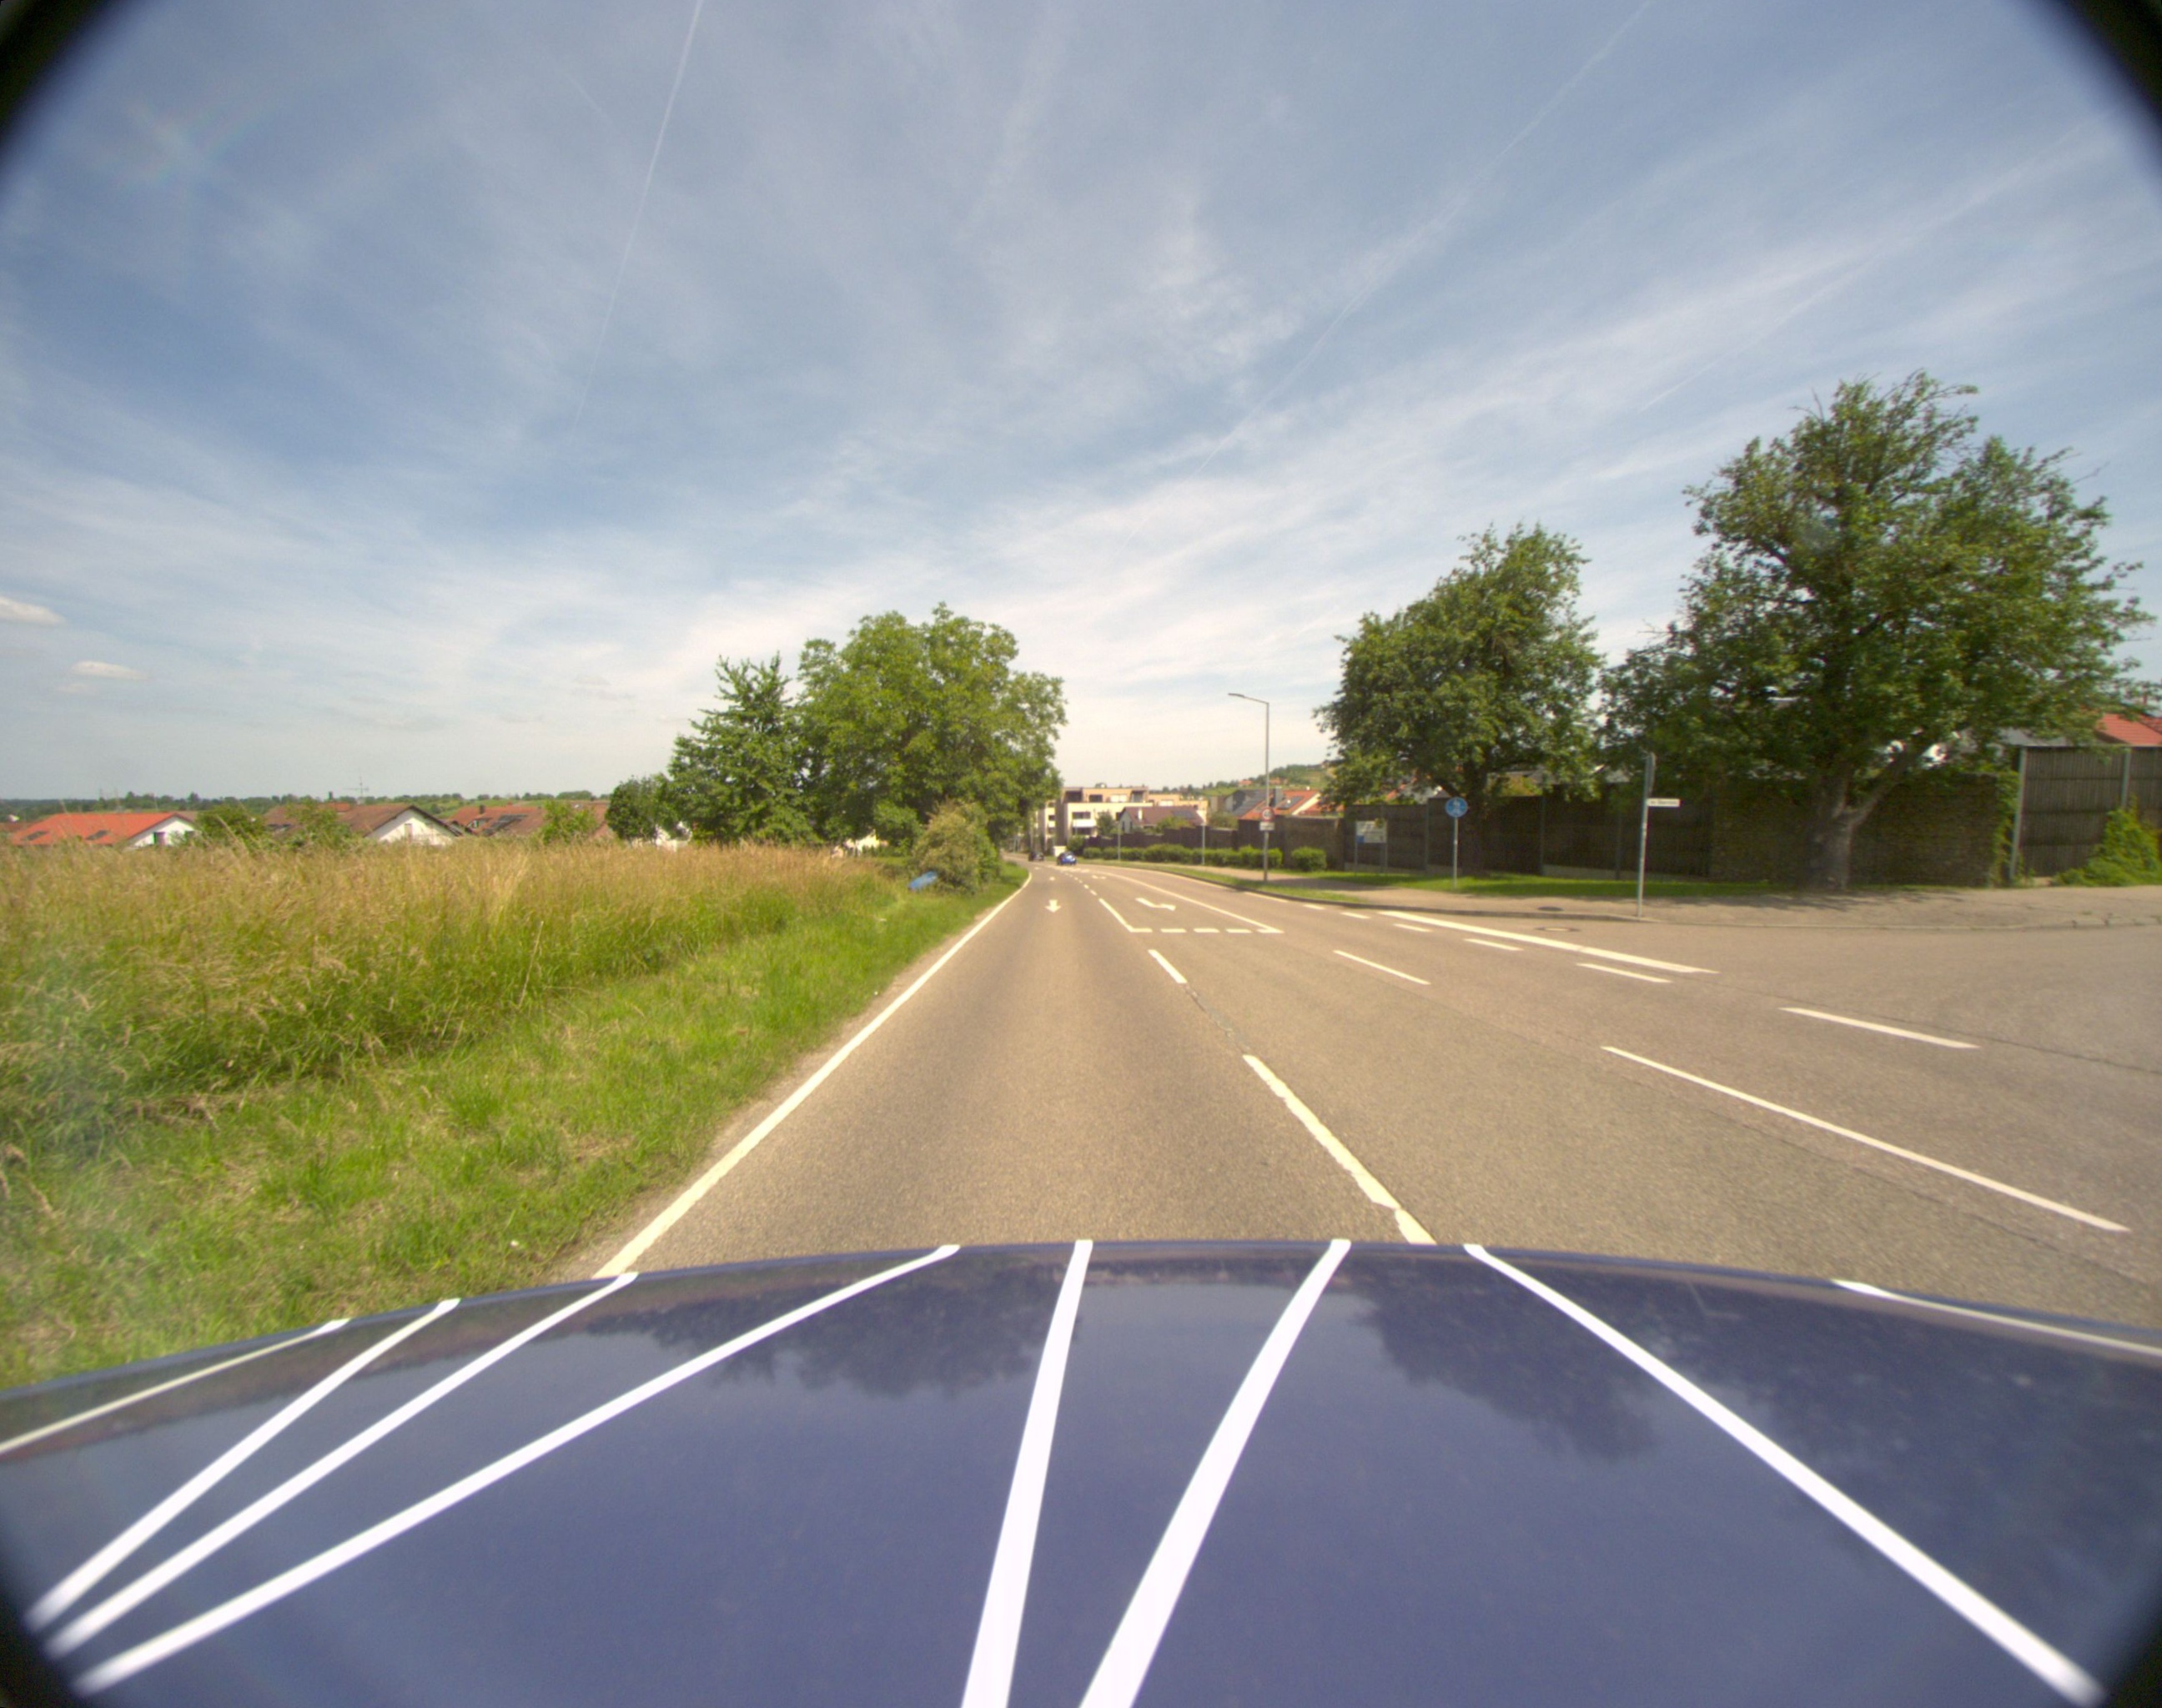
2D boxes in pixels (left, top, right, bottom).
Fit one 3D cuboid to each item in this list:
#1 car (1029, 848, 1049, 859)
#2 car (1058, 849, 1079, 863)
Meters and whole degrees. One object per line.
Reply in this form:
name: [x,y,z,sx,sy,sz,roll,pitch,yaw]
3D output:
car: [-6.171,-0.111,111.458,1.831,1.572,3.993,-1,1,-18]
car: [-1.439,0.194,84.716,1.614,1.483,3.845,-1,0,-11]
